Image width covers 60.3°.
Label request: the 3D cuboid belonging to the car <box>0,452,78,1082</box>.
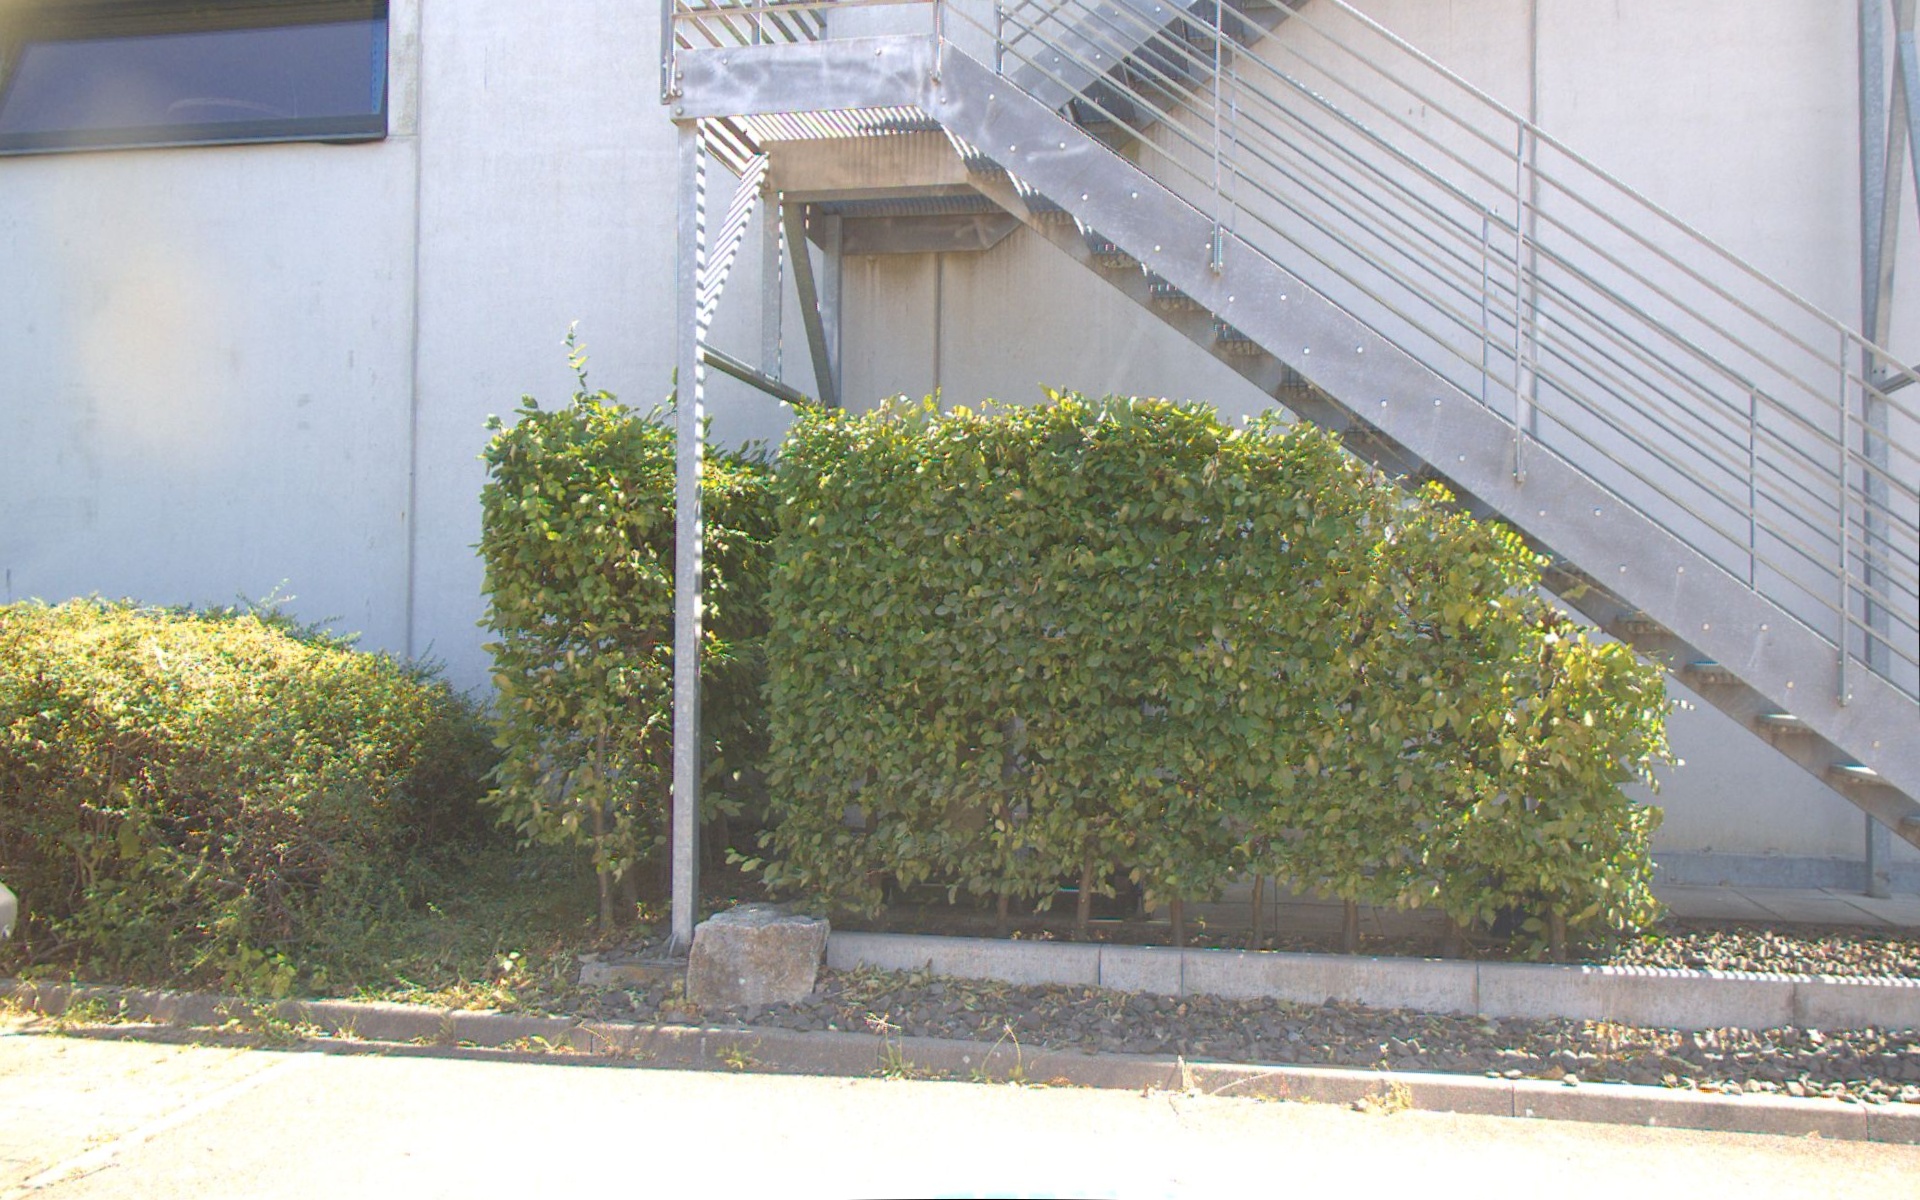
[{"bbox_3d":[-4.971,0.492,4.910,3.971,1.917,1.680,0,0,11],"label":"car"}]
